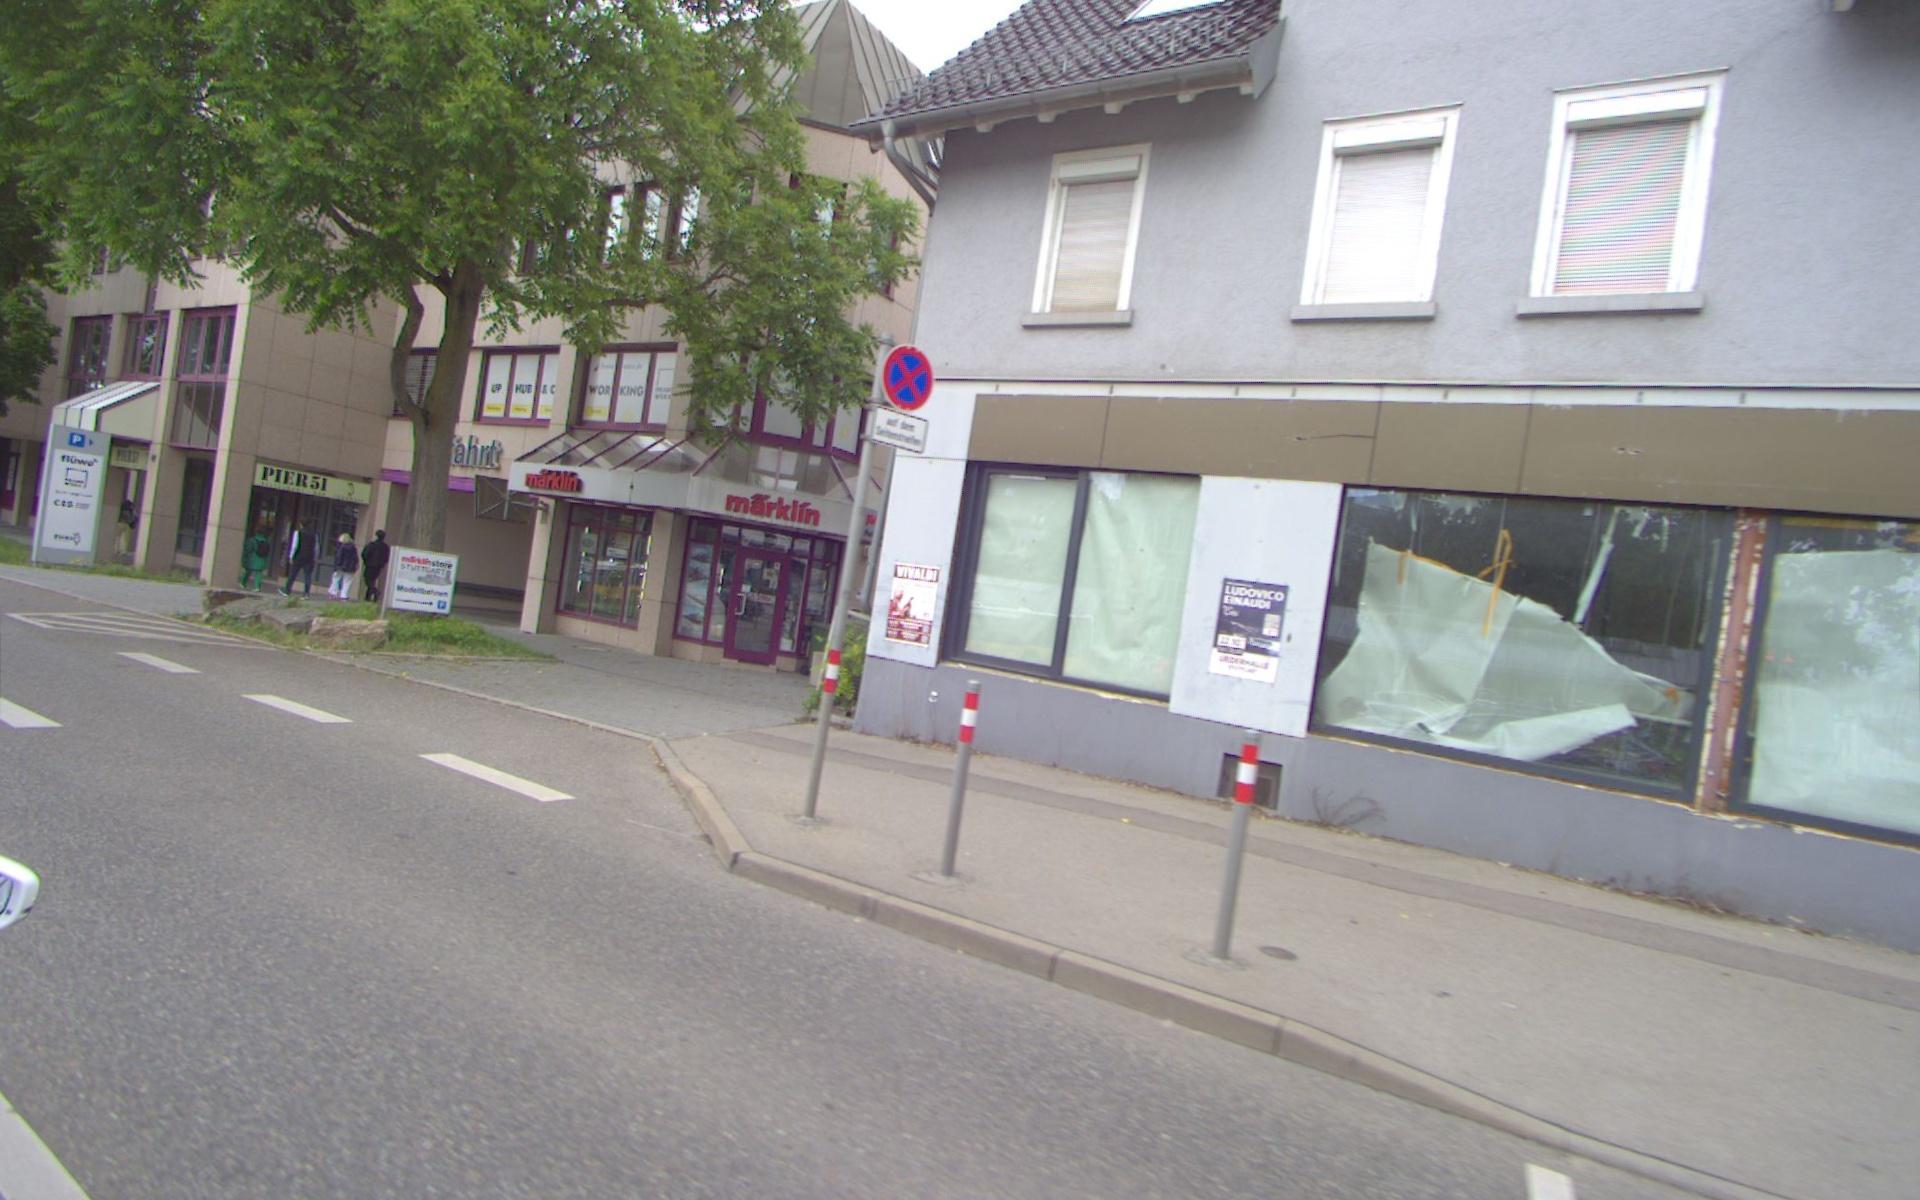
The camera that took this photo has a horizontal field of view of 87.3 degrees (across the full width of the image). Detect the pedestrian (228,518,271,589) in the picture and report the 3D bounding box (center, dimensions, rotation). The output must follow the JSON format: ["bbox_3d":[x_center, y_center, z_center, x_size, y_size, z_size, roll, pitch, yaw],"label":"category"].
[{"bbox_3d":[-16.584,-1.075,23.477,0.535,1.570,0.561,7,2,32],"label":"pedestrian"}]

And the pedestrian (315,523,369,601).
[{"bbox_3d":[-14.445,-0.882,23.519,0.829,1.713,0.657,7,2,33],"label":"pedestrian"}]

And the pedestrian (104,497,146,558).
[{"bbox_3d":[-25.472,-2.200,30.697,0.954,1.726,0.595,7,0,33],"label":"pedestrian"}]

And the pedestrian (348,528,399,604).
[{"bbox_3d":[-14.111,-0.822,24.204,0.829,1.713,0.657,7,2,33],"label":"pedestrian"}]

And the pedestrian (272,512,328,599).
[{"bbox_3d":[-14.980,-1.008,22.840,0.829,1.850,0.657,7,2,33],"label":"pedestrian"}]

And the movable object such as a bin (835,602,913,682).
[{"bbox_3d":[-1.695,0.832,19.881,1.068,1.431,0.885,7,0,31],"label":"movable object such as a bin"}]

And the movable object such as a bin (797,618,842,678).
[{"bbox_3d":[-2.738,0.940,19.621,0.551,1.079,0.489,7,0,31],"label":"movable object such as a bin"}]
